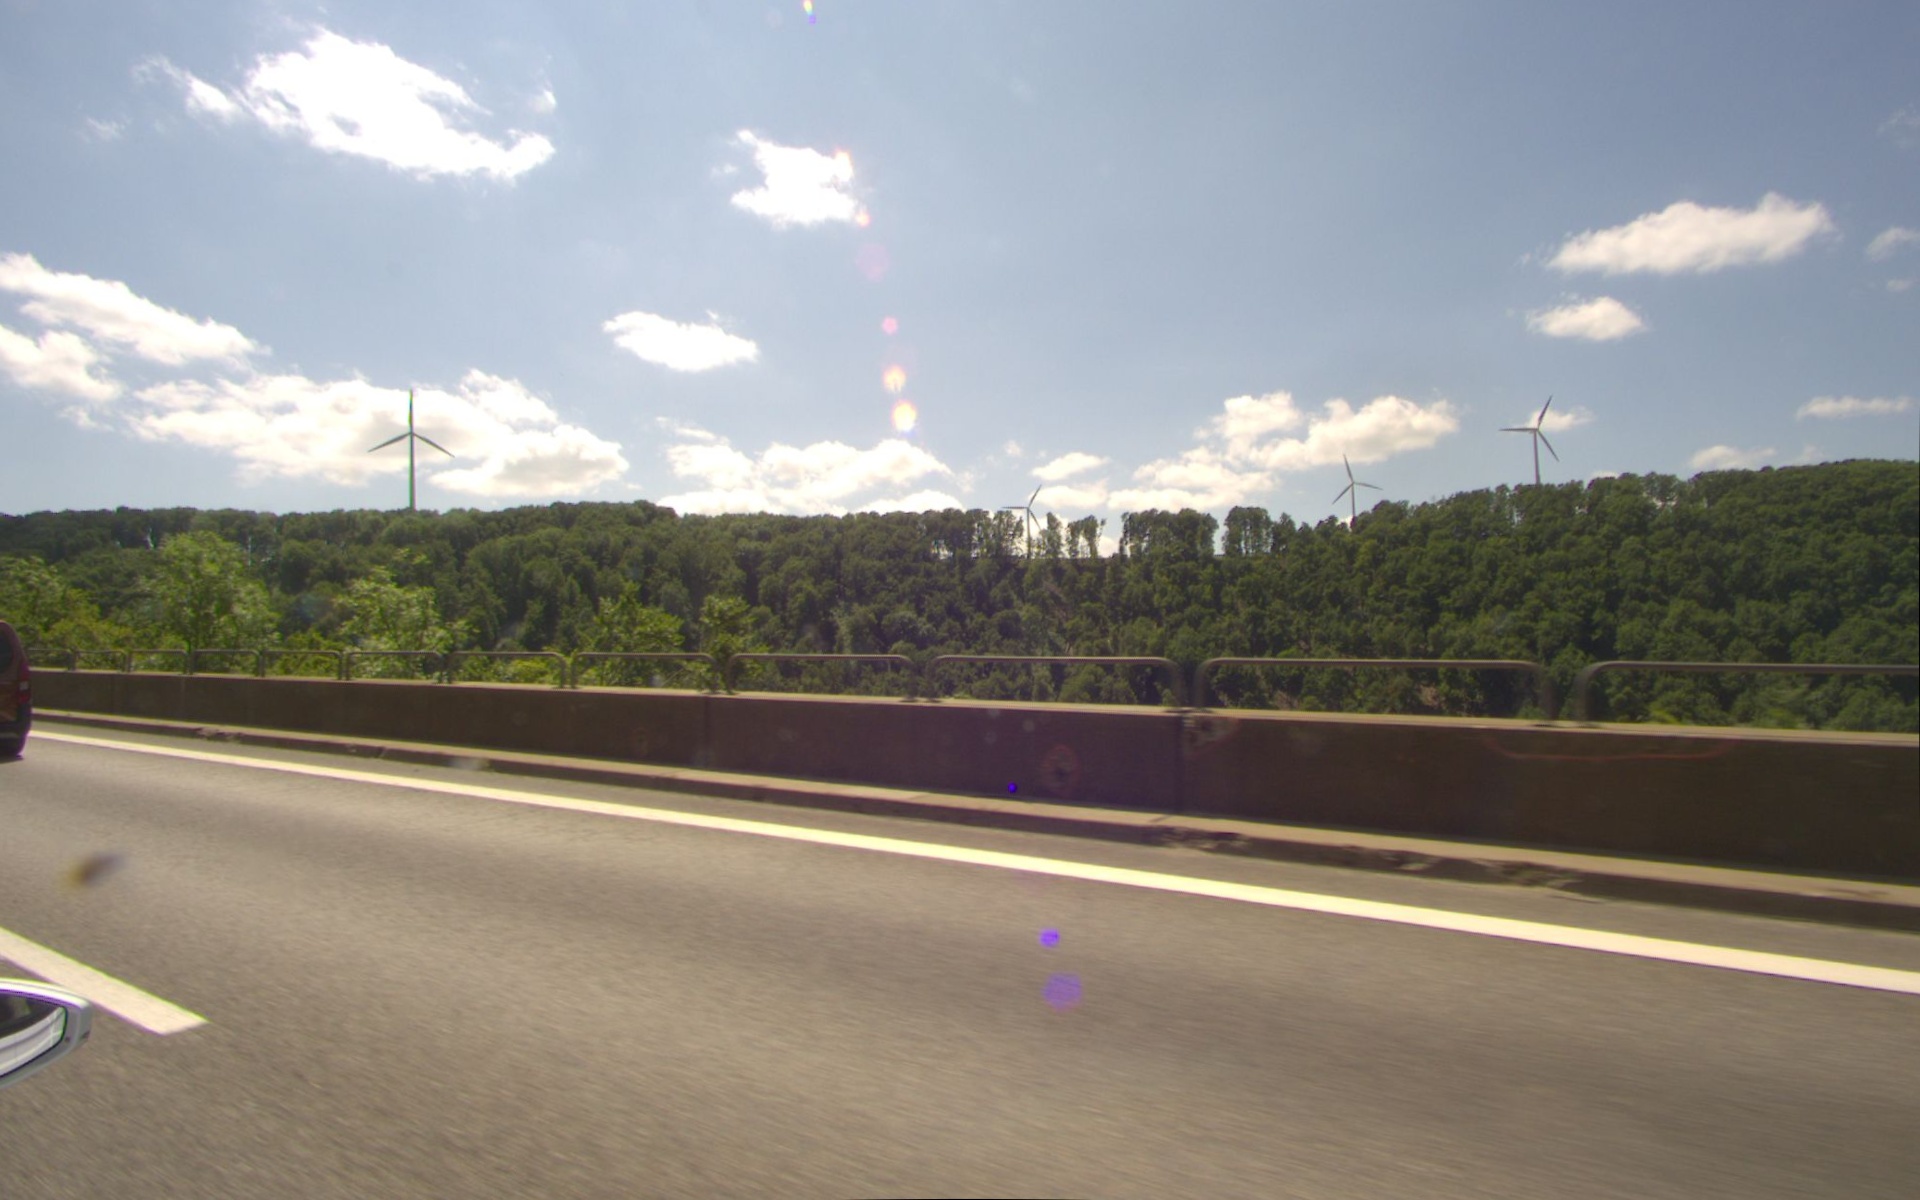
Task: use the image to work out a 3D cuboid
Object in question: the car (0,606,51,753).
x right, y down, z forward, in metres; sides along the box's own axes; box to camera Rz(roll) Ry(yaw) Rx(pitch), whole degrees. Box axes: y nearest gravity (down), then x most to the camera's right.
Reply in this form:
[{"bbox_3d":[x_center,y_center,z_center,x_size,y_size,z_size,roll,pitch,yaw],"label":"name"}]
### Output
[{"bbox_3d":[-14.025,1.037,13.173,4.608,1.807,1.830,-2,-1,31],"label":"car"}]
